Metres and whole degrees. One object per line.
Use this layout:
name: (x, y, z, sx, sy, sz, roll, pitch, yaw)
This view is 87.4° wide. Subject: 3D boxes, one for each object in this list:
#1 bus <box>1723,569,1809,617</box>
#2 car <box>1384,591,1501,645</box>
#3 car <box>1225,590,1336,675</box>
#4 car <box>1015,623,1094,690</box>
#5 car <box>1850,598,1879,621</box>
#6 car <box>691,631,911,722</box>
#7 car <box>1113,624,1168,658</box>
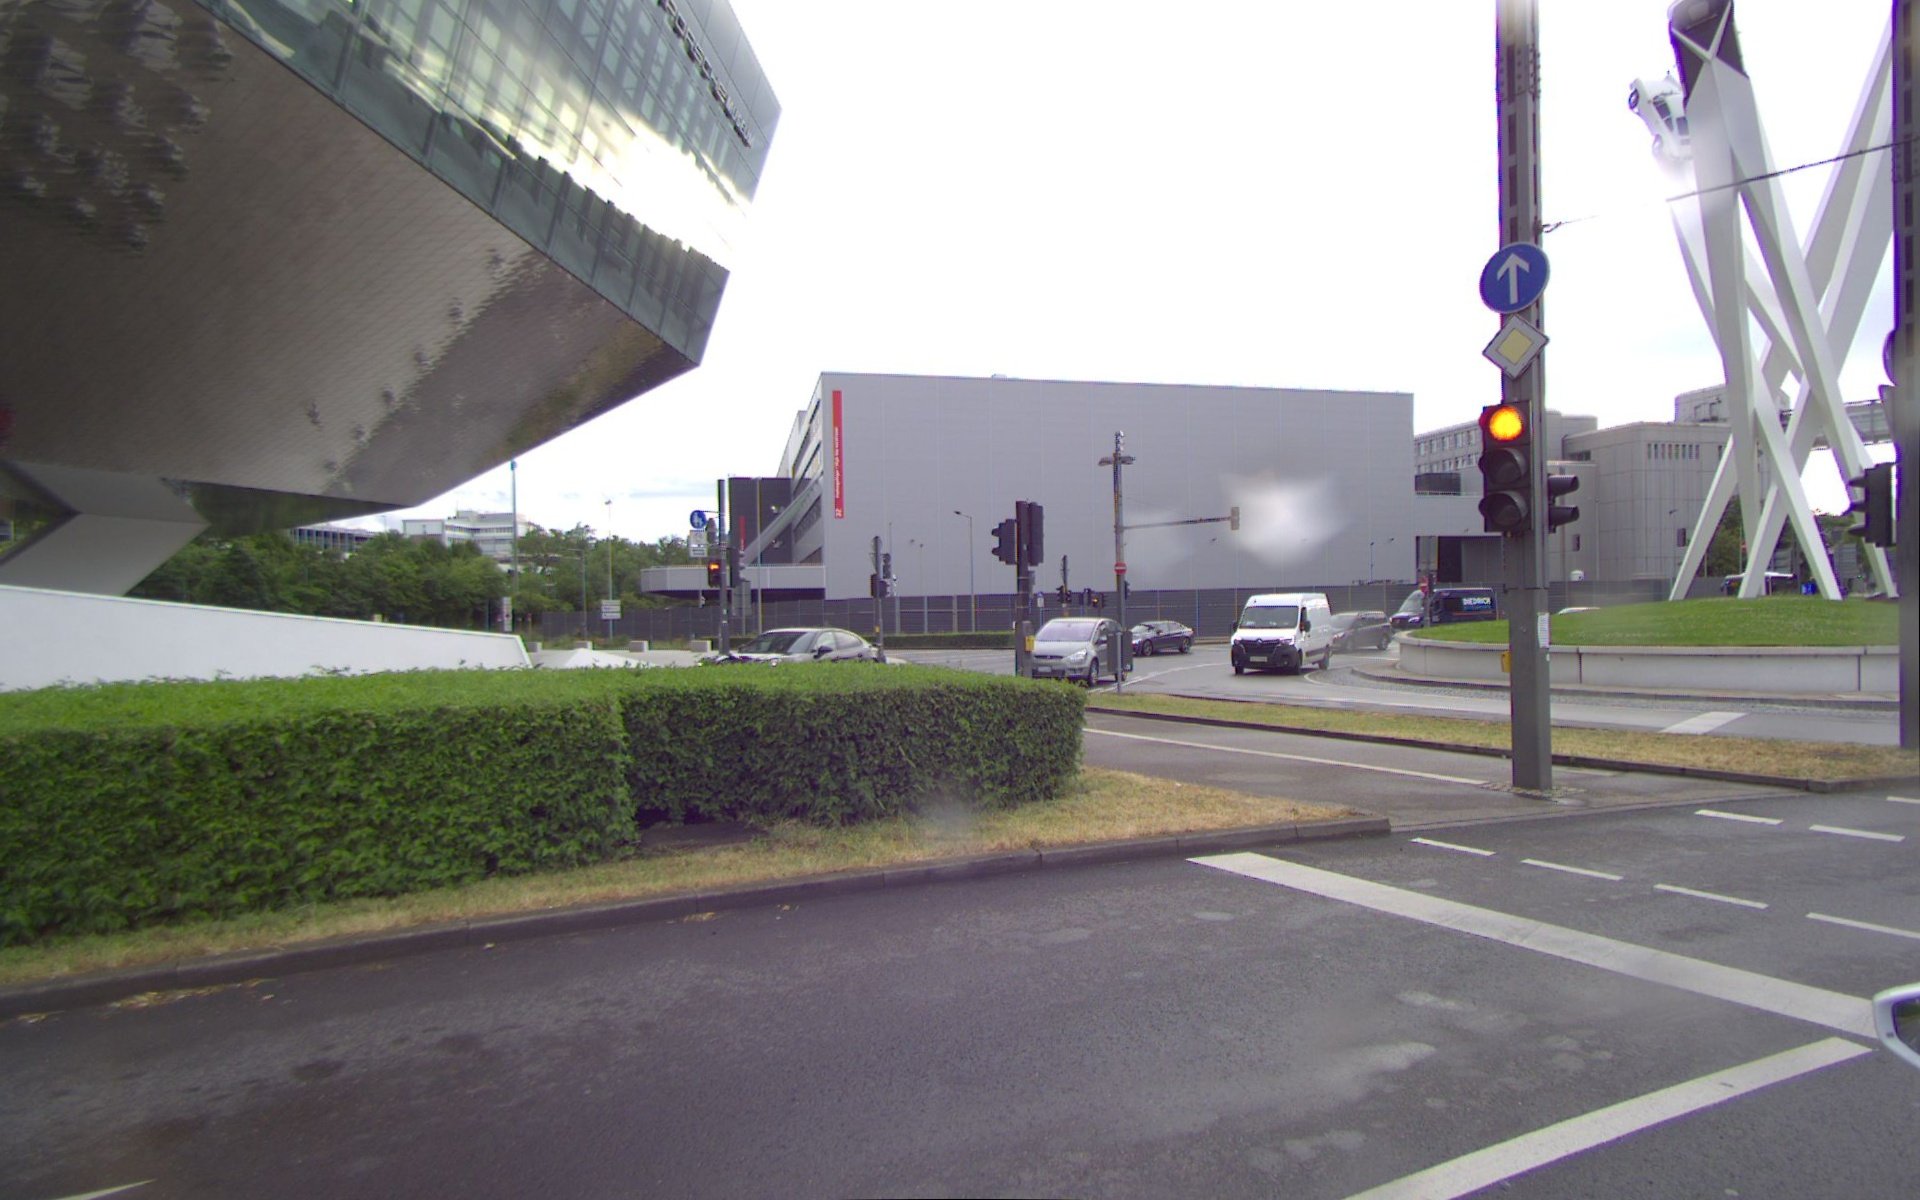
bus: (59.751, -0.416, 74.310, 12.565, 3.243, 2.646, 1, -1, -40)
car: (26.814, 1.013, 55.712, 7.035, 2.858, 1.960, 1, -1, -27)
car: (10.347, 1.014, 32.138, 1.966, 2.479, 5.411, -1, -1, 34)
car: (2.390, 1.344, 25.173, 1.802, 1.514, 4.002, 0, -1, 6)
car: (81.760, 0.817, 90.793, 3.732, 2.040, 1.629, 1, 0, -43)
car: (-2.950, 1.390, 19.649, 1.807, 1.491, 4.504, 0, -1, 31)
car: (7.961, 1.765, 44.087, 1.803, 1.356, 4.248, 0, -1, 18)
